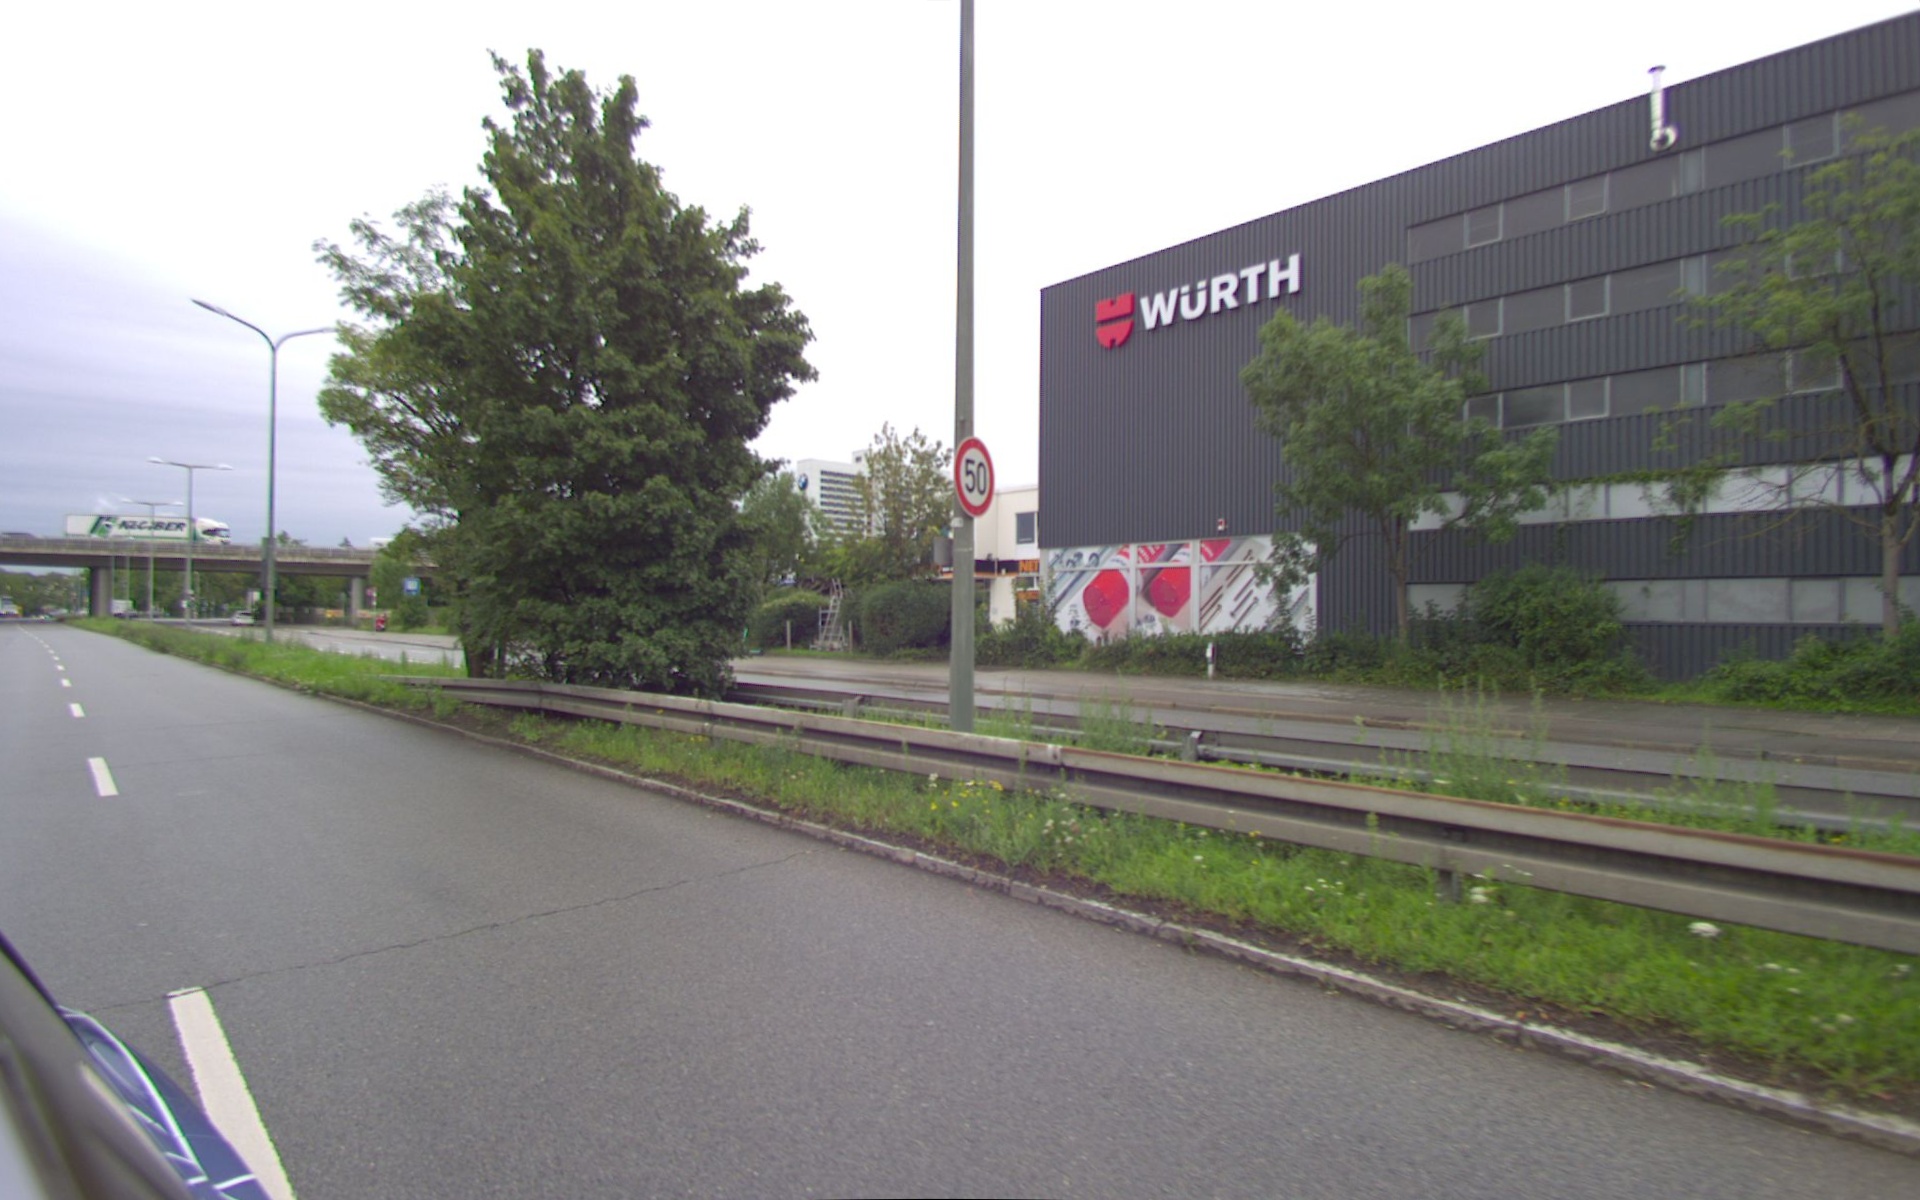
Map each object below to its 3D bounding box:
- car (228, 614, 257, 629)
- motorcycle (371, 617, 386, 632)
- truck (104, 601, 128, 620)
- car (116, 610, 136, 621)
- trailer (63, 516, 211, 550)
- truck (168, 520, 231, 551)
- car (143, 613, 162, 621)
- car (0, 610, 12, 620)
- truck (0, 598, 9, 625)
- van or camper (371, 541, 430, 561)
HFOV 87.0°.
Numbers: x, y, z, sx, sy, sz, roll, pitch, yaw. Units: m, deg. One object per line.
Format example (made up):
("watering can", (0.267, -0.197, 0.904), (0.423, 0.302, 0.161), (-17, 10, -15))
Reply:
("car", (-78.537, 2.376, 110.775), (1.969, 1.584, 4.579), (2, -2, -42))
("motorcycle", (-47.742, 1.997, 83.043), (0.527, 1.185, 2.198), (2, -2, -43))
("truck", (-140.912, 1.809, 168.992), (7.235, 3.000, 2.227), (-2, -5, 44))
("car", (-129.482, 2.434, 157.130), (1.946, 1.595, 4.594), (5, -3, -45))
("trailer", (-92.322, -7.532, 113.705), (13.848, 3.323, 2.669), (1, 0, -4))
("truck", (-85.690, -7.263, 114.114), (5.116, 3.270, 2.600), (1, 0, -4))
("car", (-143.961, 3.025, 180.396), (4.819, 1.407, 1.946), (1, -2, 45))
("car", (-170.544, 2.721, 178.673), (4.532, 1.595, 1.972), (0, -4, 5))
("truck", (-174.834, 1.744, 179.420), (9.465, 4.626, 2.800), (4, -2, -1))
("van or camper", (-63.940, -5.562, 115.696), (5.424, 2.029, 2.333), (2, -1, -4))
